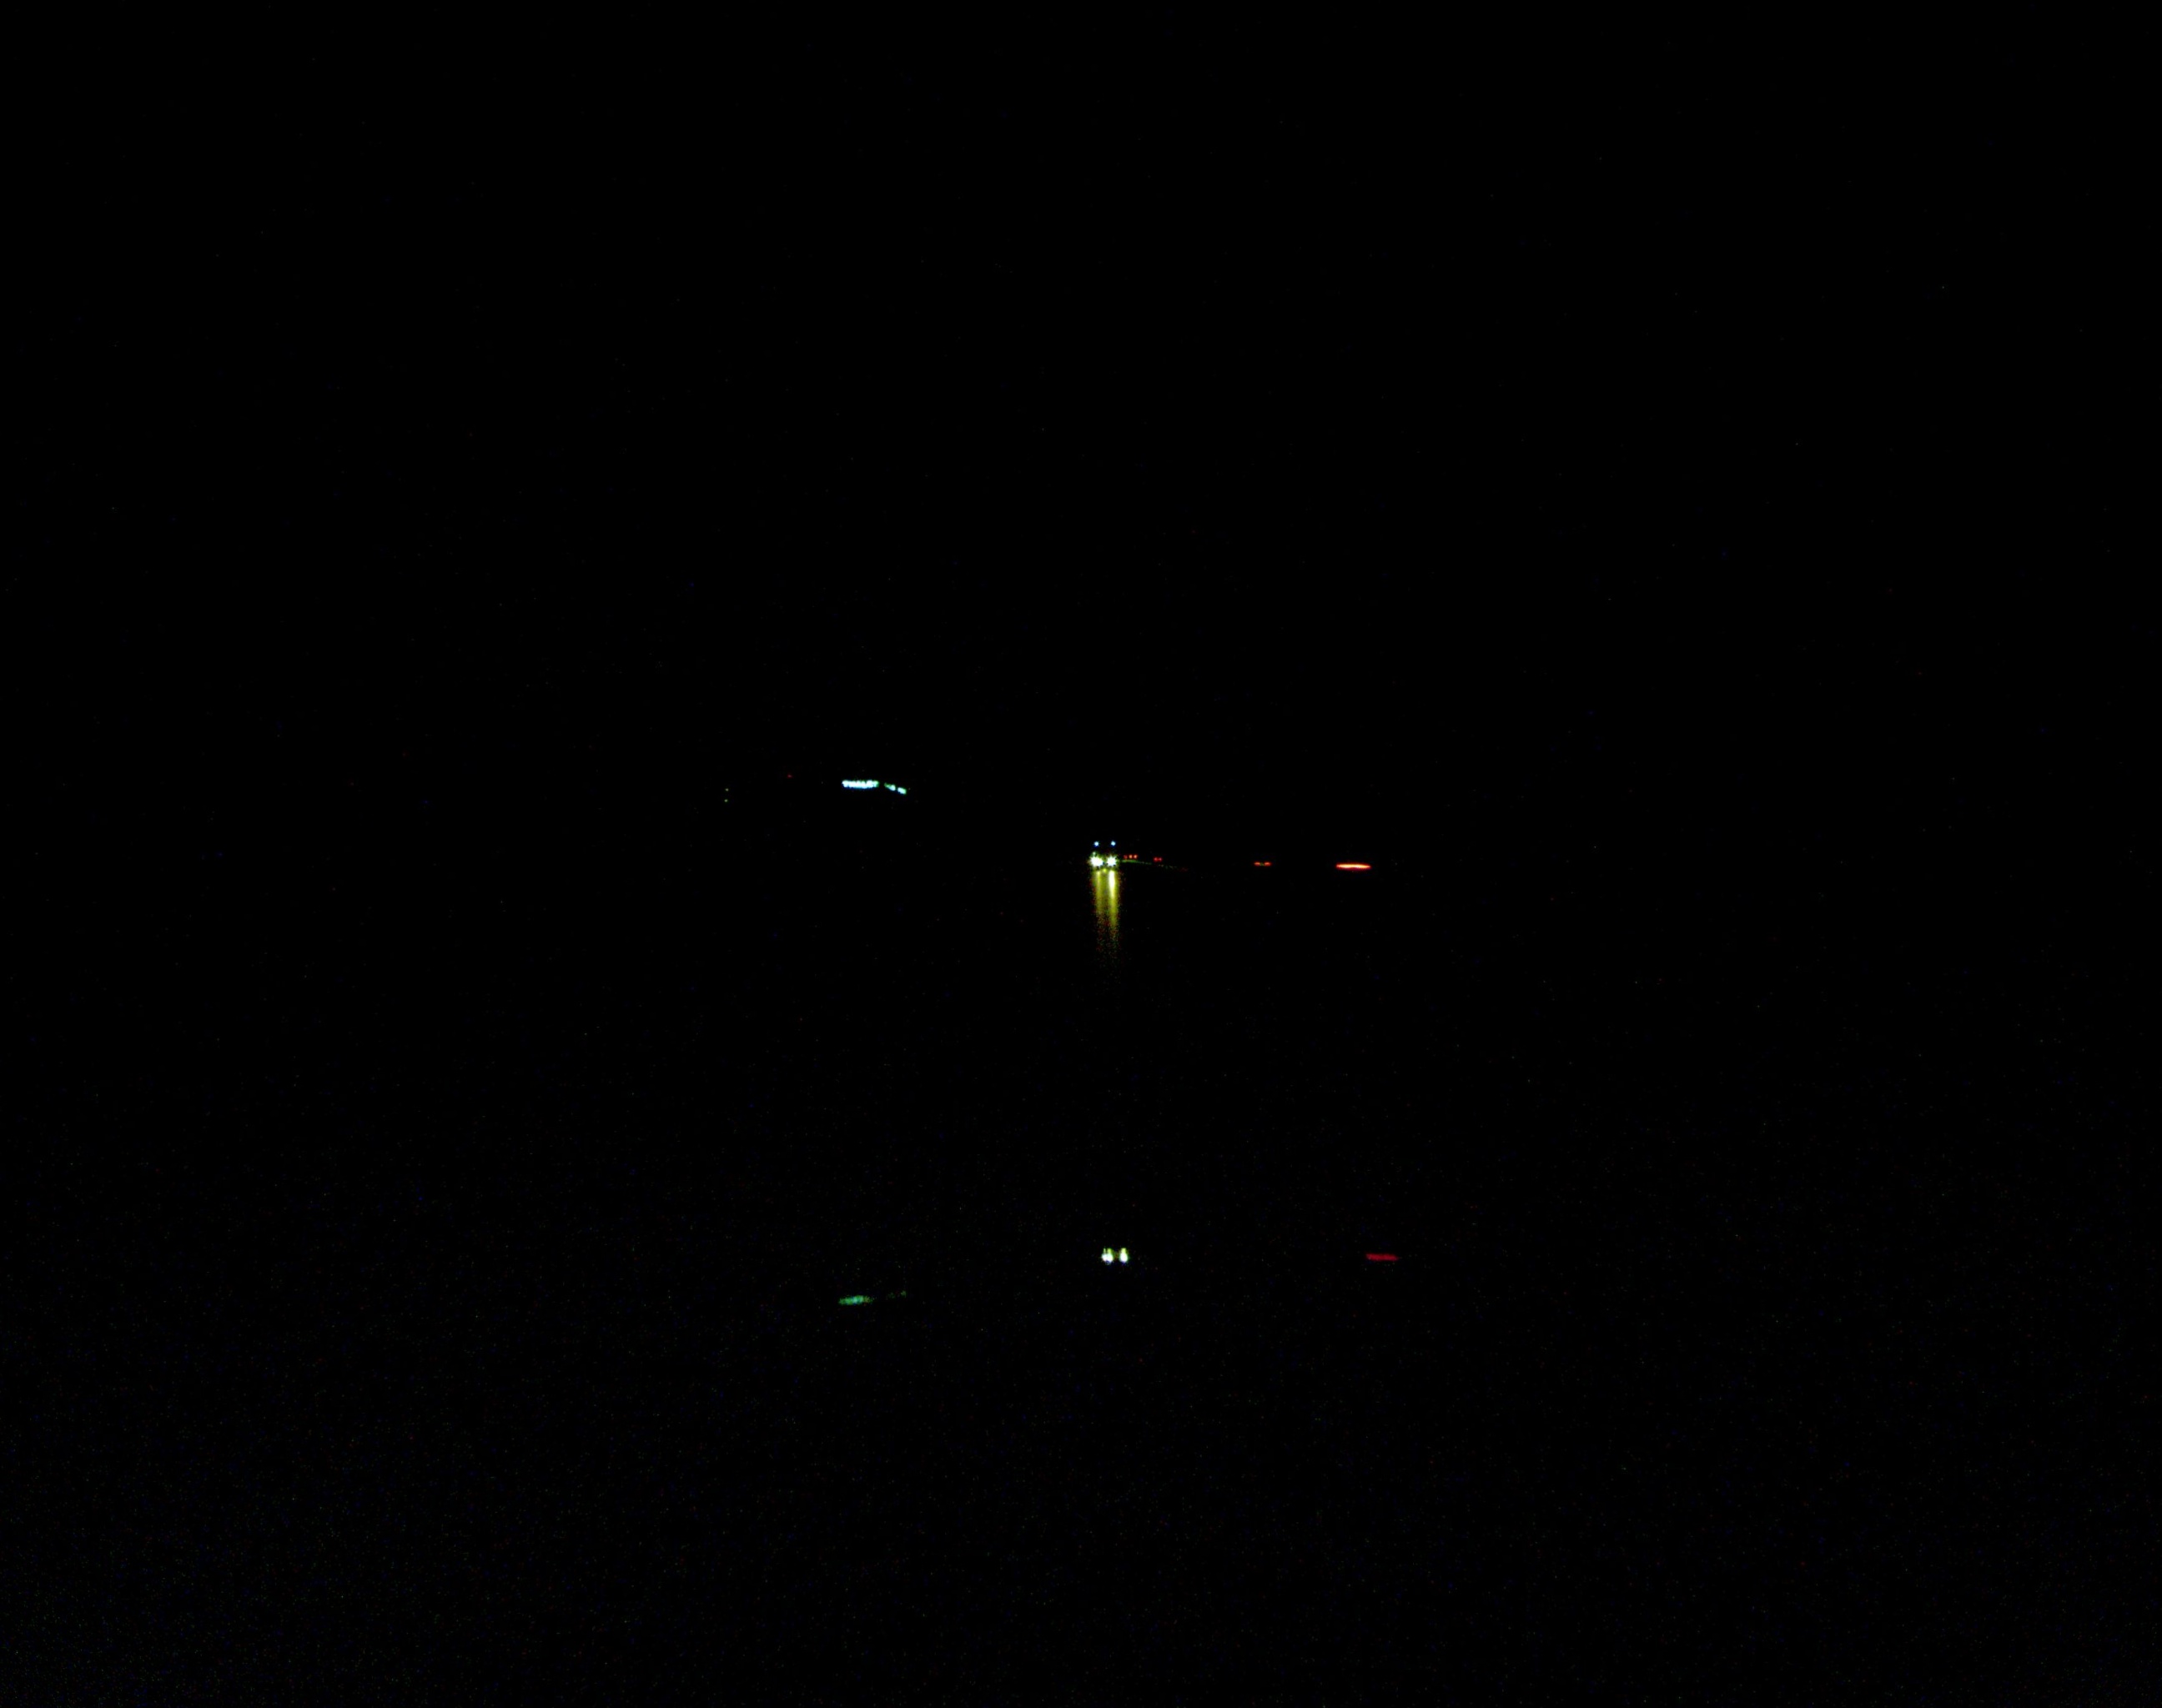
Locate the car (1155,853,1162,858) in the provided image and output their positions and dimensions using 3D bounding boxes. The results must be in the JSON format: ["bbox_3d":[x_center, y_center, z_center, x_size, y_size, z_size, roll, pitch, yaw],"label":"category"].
[{"bbox_3d":[24.701,0.602,242.903,1.908,1.608,4.404,0,0,1],"label":"car"}]

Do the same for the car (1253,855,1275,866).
[{"bbox_3d":[23.023,0.825,95.682,1.907,1.275,4.350,0,0,3],"label":"car"}]

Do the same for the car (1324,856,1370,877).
[{"bbox_3d":[20.700,0.963,59.334,1.968,1.529,5.186,0,0,3],"label":"car"}]

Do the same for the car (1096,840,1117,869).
[{"bbox_3d":[2.933,0.017,87.204,2.255,3.205,6.879,-2,0,2],"label":"car"}]
